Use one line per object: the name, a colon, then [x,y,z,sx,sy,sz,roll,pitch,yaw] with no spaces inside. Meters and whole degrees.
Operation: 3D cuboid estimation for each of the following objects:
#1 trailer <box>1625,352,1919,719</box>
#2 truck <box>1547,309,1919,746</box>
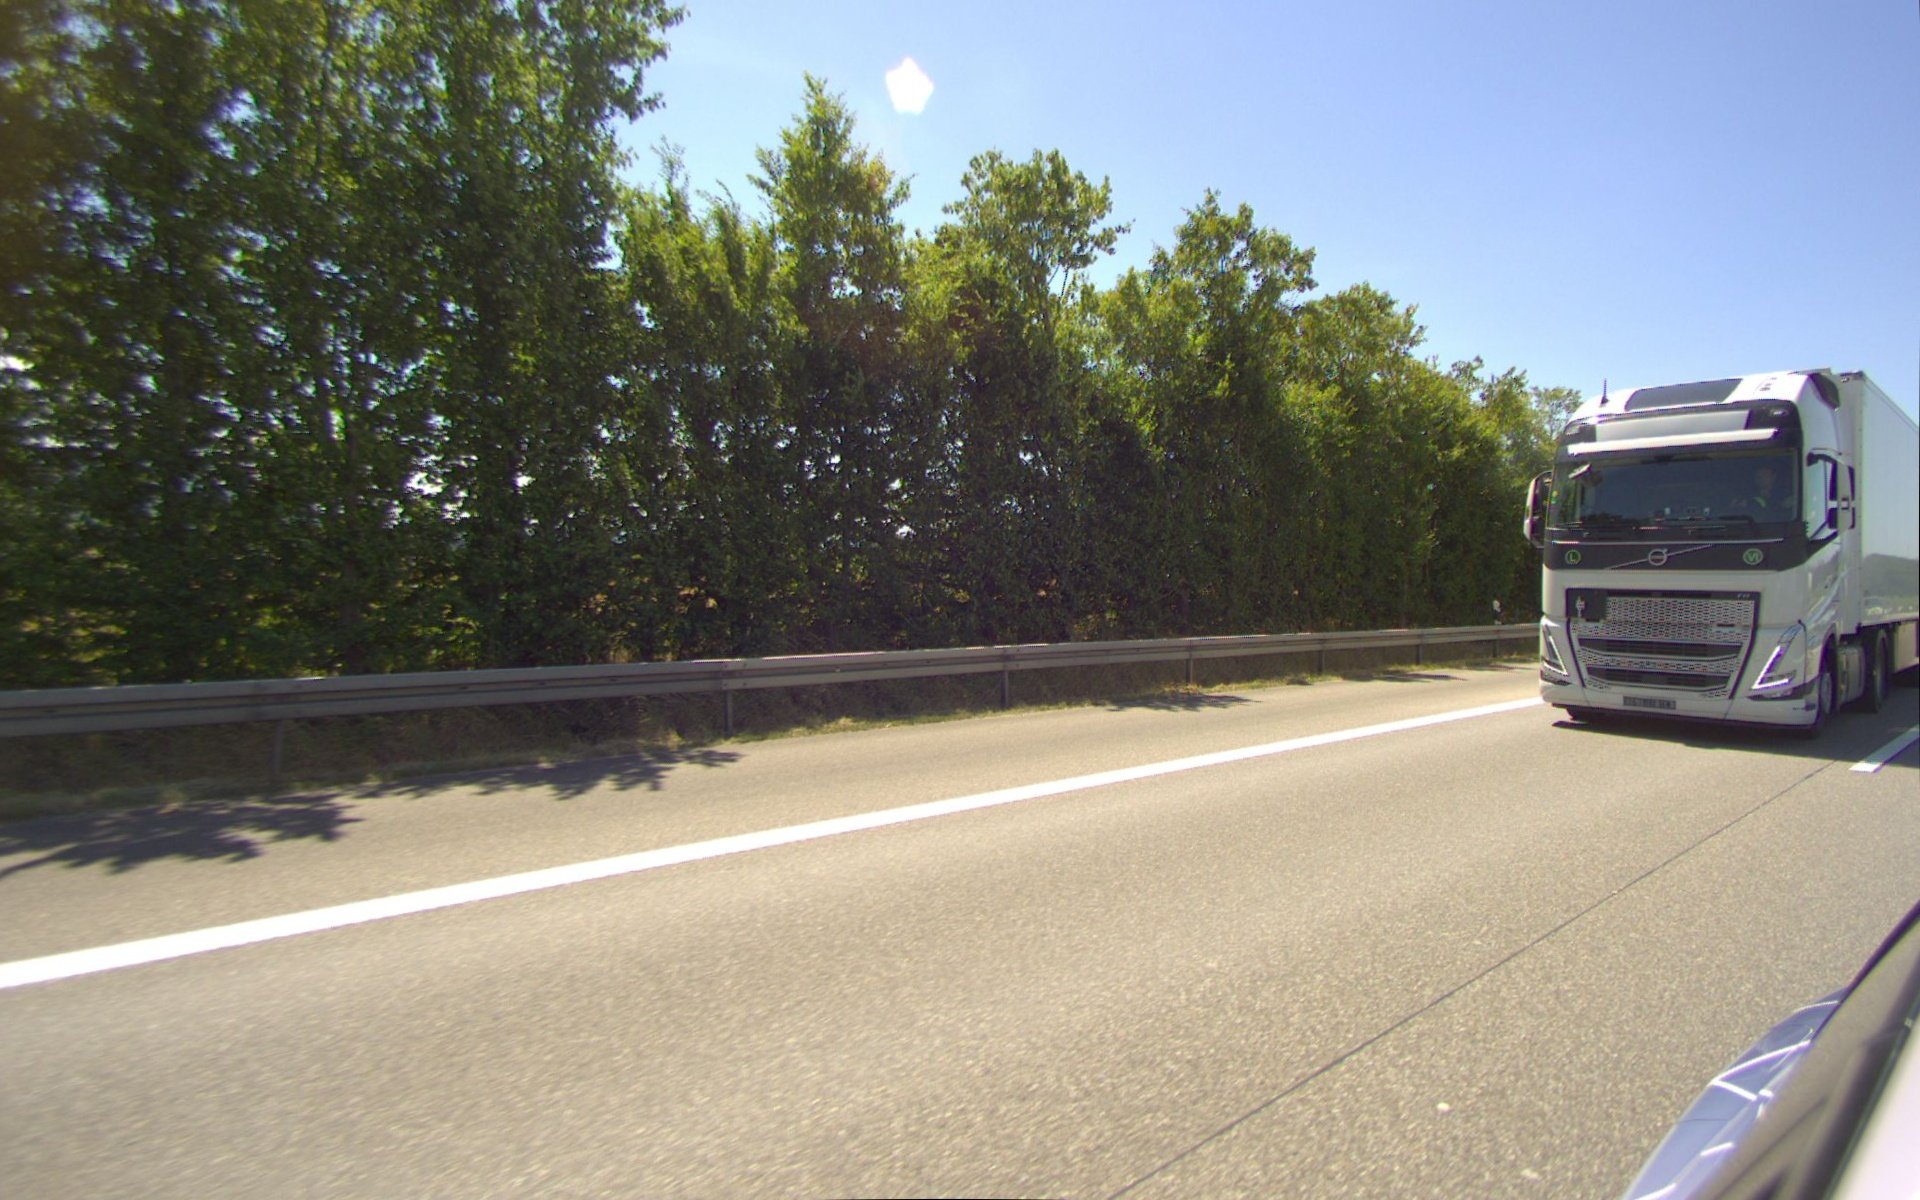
trailer: [14.660,-0.791,16.761,13.638,4.113,2.474,-1,0,-41]
truck: [9.788,-0.716,12.514,6.210,4.113,2.474,-1,0,-41]
